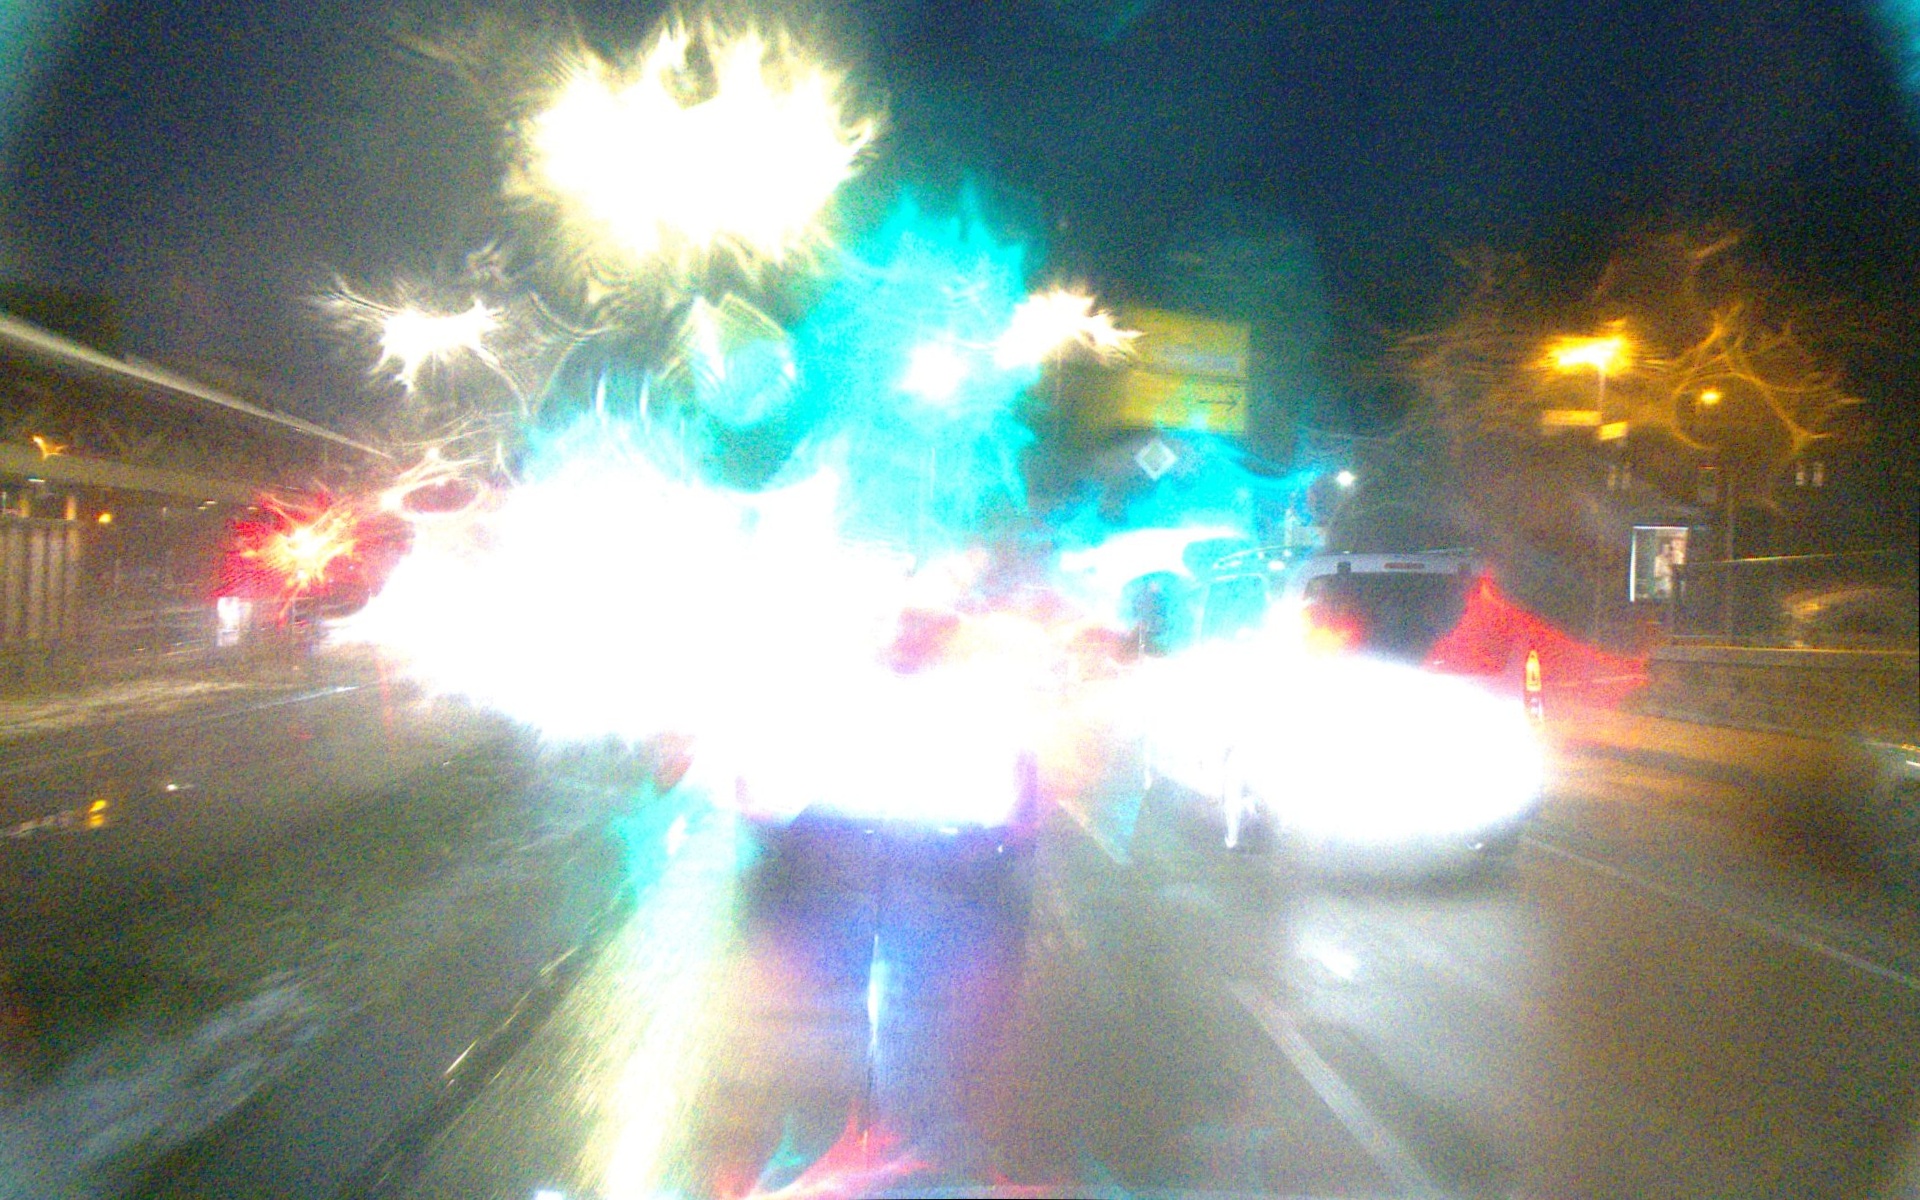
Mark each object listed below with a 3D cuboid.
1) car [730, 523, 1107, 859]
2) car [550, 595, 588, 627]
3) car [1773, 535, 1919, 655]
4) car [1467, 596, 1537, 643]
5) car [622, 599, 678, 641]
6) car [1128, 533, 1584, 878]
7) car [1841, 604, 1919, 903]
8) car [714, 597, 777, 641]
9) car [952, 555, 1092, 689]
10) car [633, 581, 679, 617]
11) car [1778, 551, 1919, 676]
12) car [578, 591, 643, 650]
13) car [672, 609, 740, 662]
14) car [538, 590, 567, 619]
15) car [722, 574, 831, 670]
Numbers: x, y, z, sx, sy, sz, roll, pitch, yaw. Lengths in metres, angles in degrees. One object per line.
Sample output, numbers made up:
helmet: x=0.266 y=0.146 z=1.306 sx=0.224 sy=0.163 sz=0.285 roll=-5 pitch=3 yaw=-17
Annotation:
car: x=-0.393 y=0.498 z=11.029 sx=1.975 sy=1.747 sz=4.447 roll=1 pitch=0 yaw=-5
car: x=-23.857 y=0.665 z=100.830 sx=1.962 sy=1.856 sz=3.981 roll=1 pitch=0 yaw=-17
car: x=13.398 y=-0.053 z=22.886 sx=3.801 sy=1.601 sz=1.831 roll=1 pitch=0 yaw=28
car: x=20.739 y=0.737 z=63.439 sx=1.734 sy=1.698 sz=4.073 roll=1 pitch=0 yaw=7
car: x=-14.498 y=0.930 z=77.144 sx=1.964 sy=1.856 sz=3.977 roll=1 pitch=0 yaw=-20
car: x=2.451 y=0.602 z=11.423 sx=1.815 sy=1.897 sz=4.337 roll=1 pitch=0 yaw=-4
car: x=5.678 y=0.775 z=6.792 sx=1.749 sy=1.467 sz=4.236 roll=0 pitch=1 yaw=-2
car: x=-8.688 y=0.748 z=66.678 sx=1.961 sy=1.699 sz=3.983 roll=1 pitch=0 yaw=-15
car: x=0.976 y=0.356 z=28.372 sx=1.930 sy=2.082 sz=3.996 roll=1 pitch=0 yaw=-4
car: x=-16.199 y=-0.055 z=88.027 sx=1.961 sy=1.852 sz=3.982 roll=1 pitch=0 yaw=-16
car: x=12.452 y=0.190 z=20.331 sx=4.244 sy=1.485 sz=1.849 roll=1 pitch=0 yaw=28
car: x=-12.412 y=0.693 z=58.580 sx=1.981 sy=1.920 sz=4.435 roll=2 pitch=1 yaw=-15
car: x=-9.001 y=1.236 z=58.469 sx=1.960 sy=1.763 sz=3.984 roll=1 pitch=0 yaw=-15
car: x=-29.527 y=0.321 z=119.788 sx=1.960 sy=2.049 sz=3.984 roll=1 pitch=0 yaw=-15
car: x=-4.245 y=0.476 z=37.835 sx=1.960 sy=2.049 sz=3.986 roll=1 pitch=0 yaw=-14
